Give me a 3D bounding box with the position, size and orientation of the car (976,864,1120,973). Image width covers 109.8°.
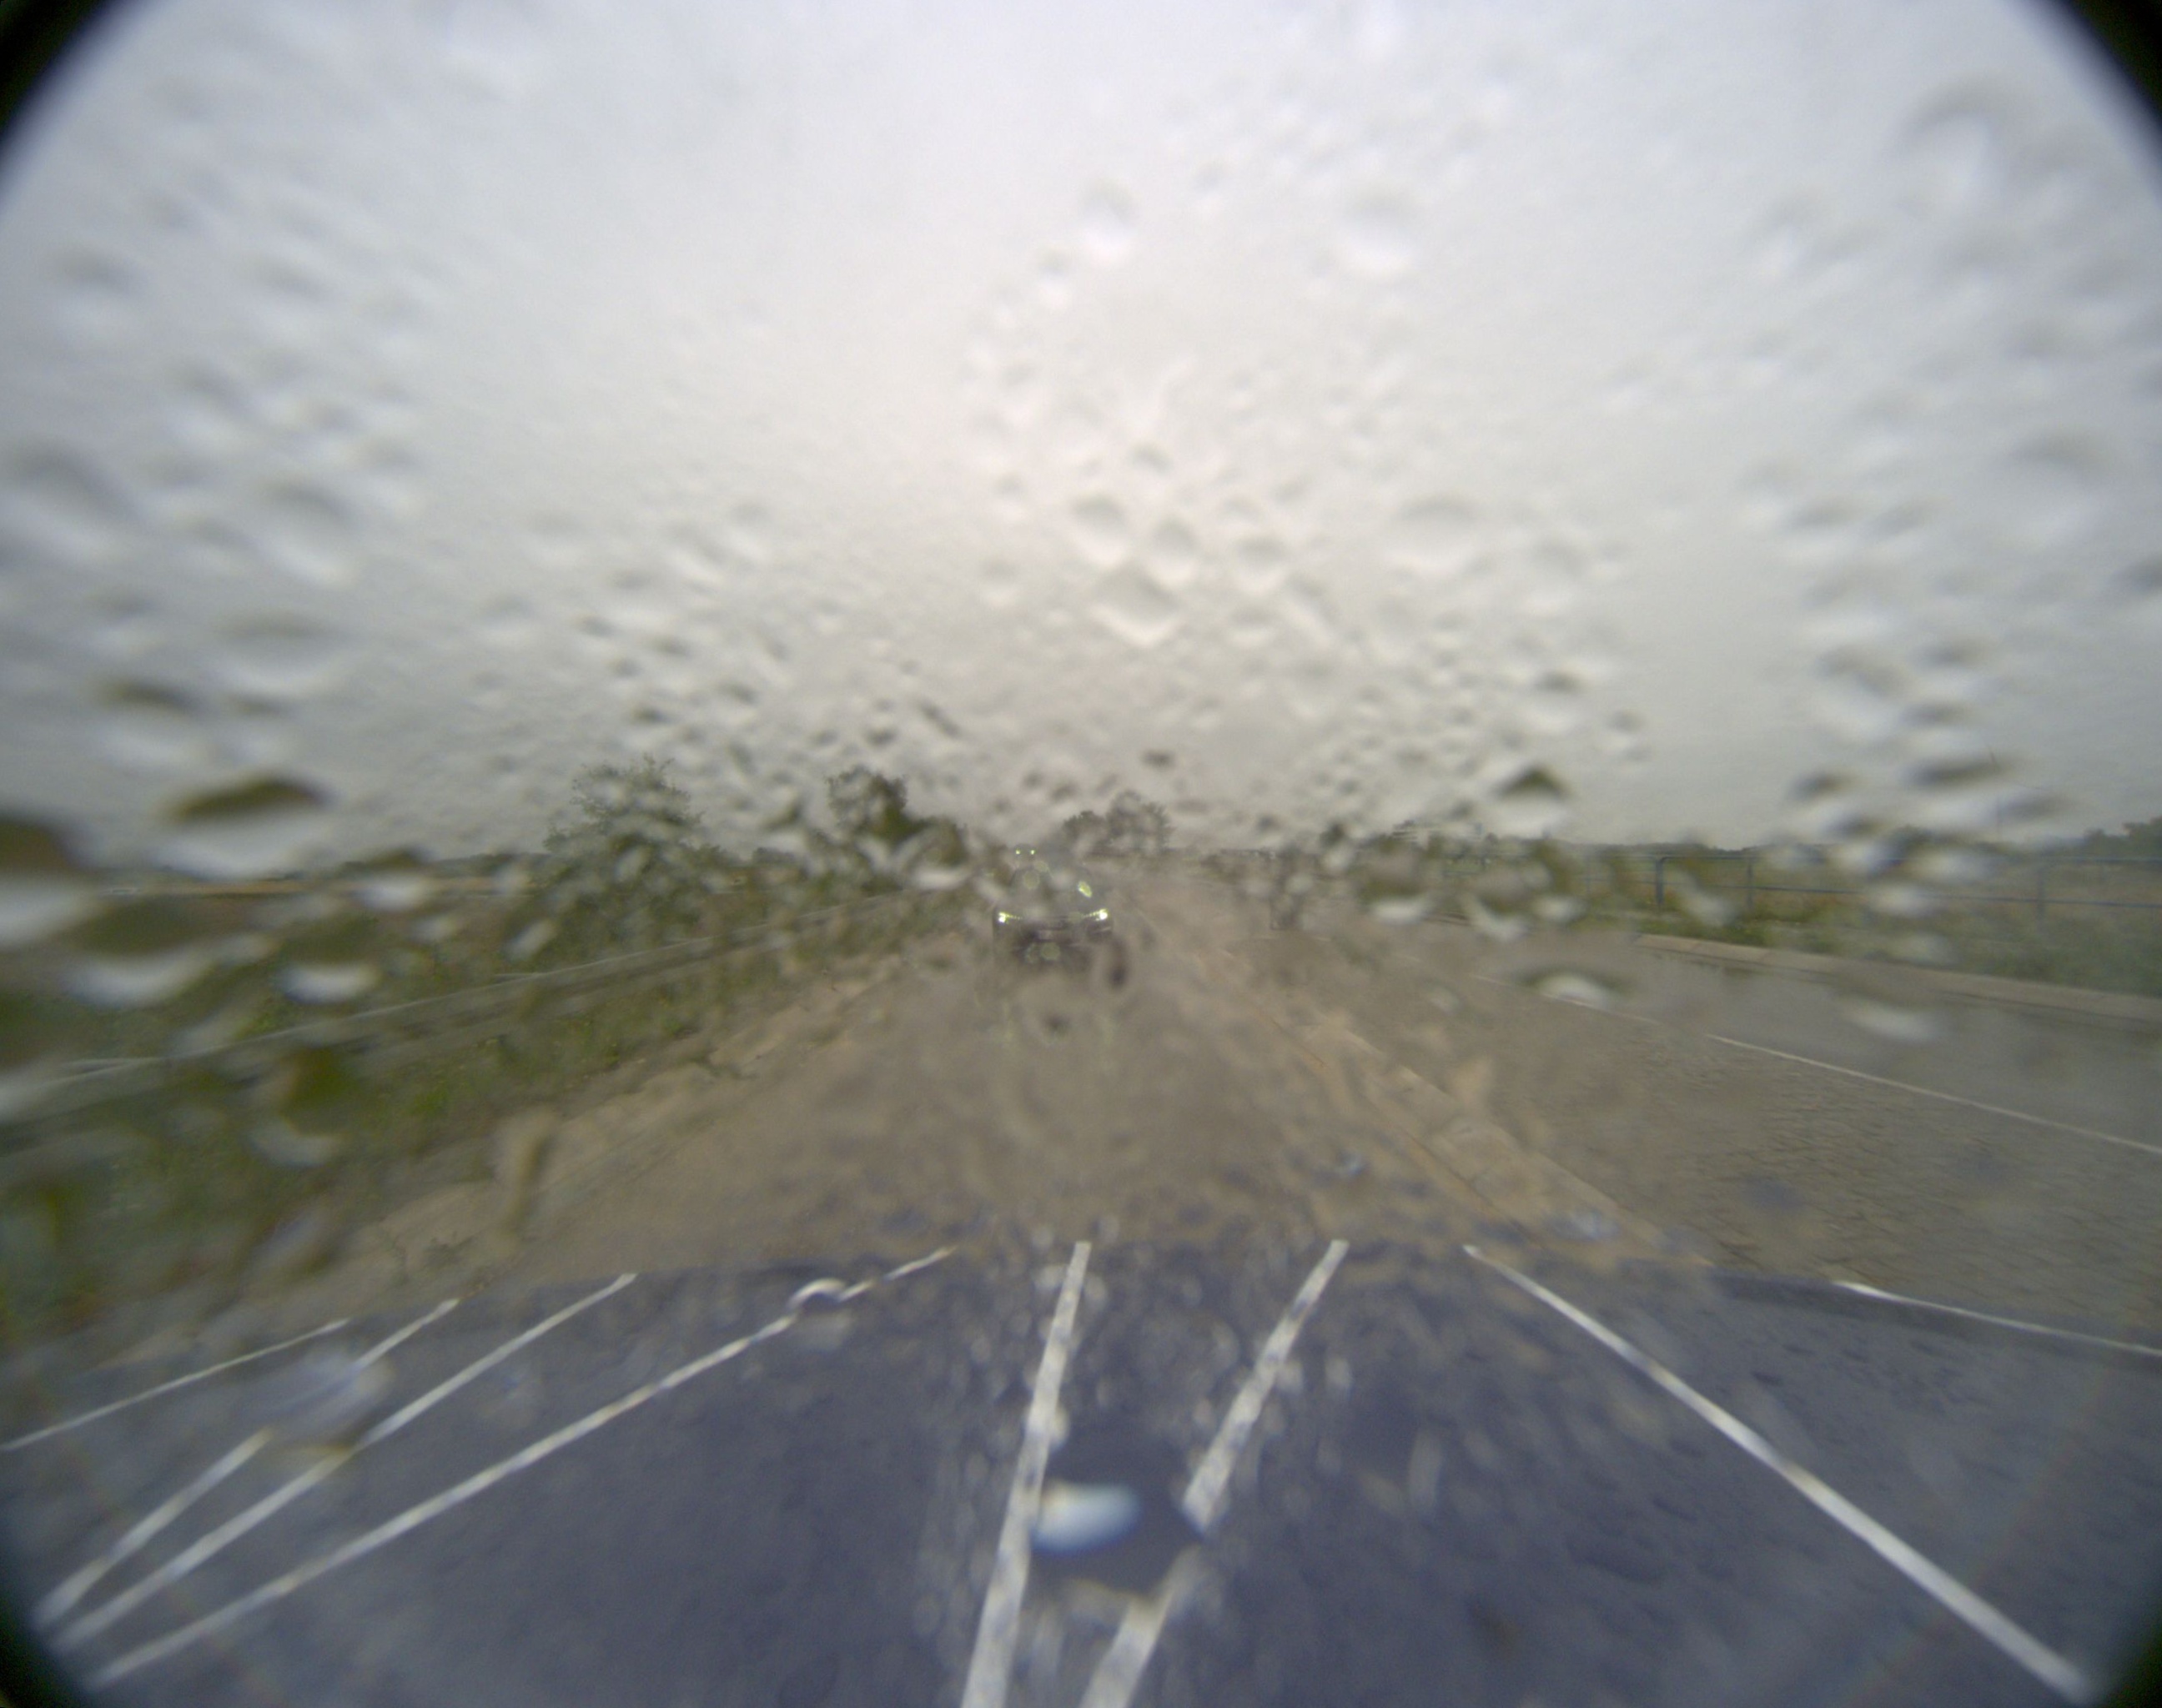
[{"bbox_3d":[-0.344,0.933,12.843,1.909,1.361,4.566,-1,1,4],"label":"car"}]

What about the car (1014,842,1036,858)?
[{"bbox_3d":[-5.062,-0.394,69.070,1.910,1.361,4.562,-1,1,-5],"label":"car"}]
